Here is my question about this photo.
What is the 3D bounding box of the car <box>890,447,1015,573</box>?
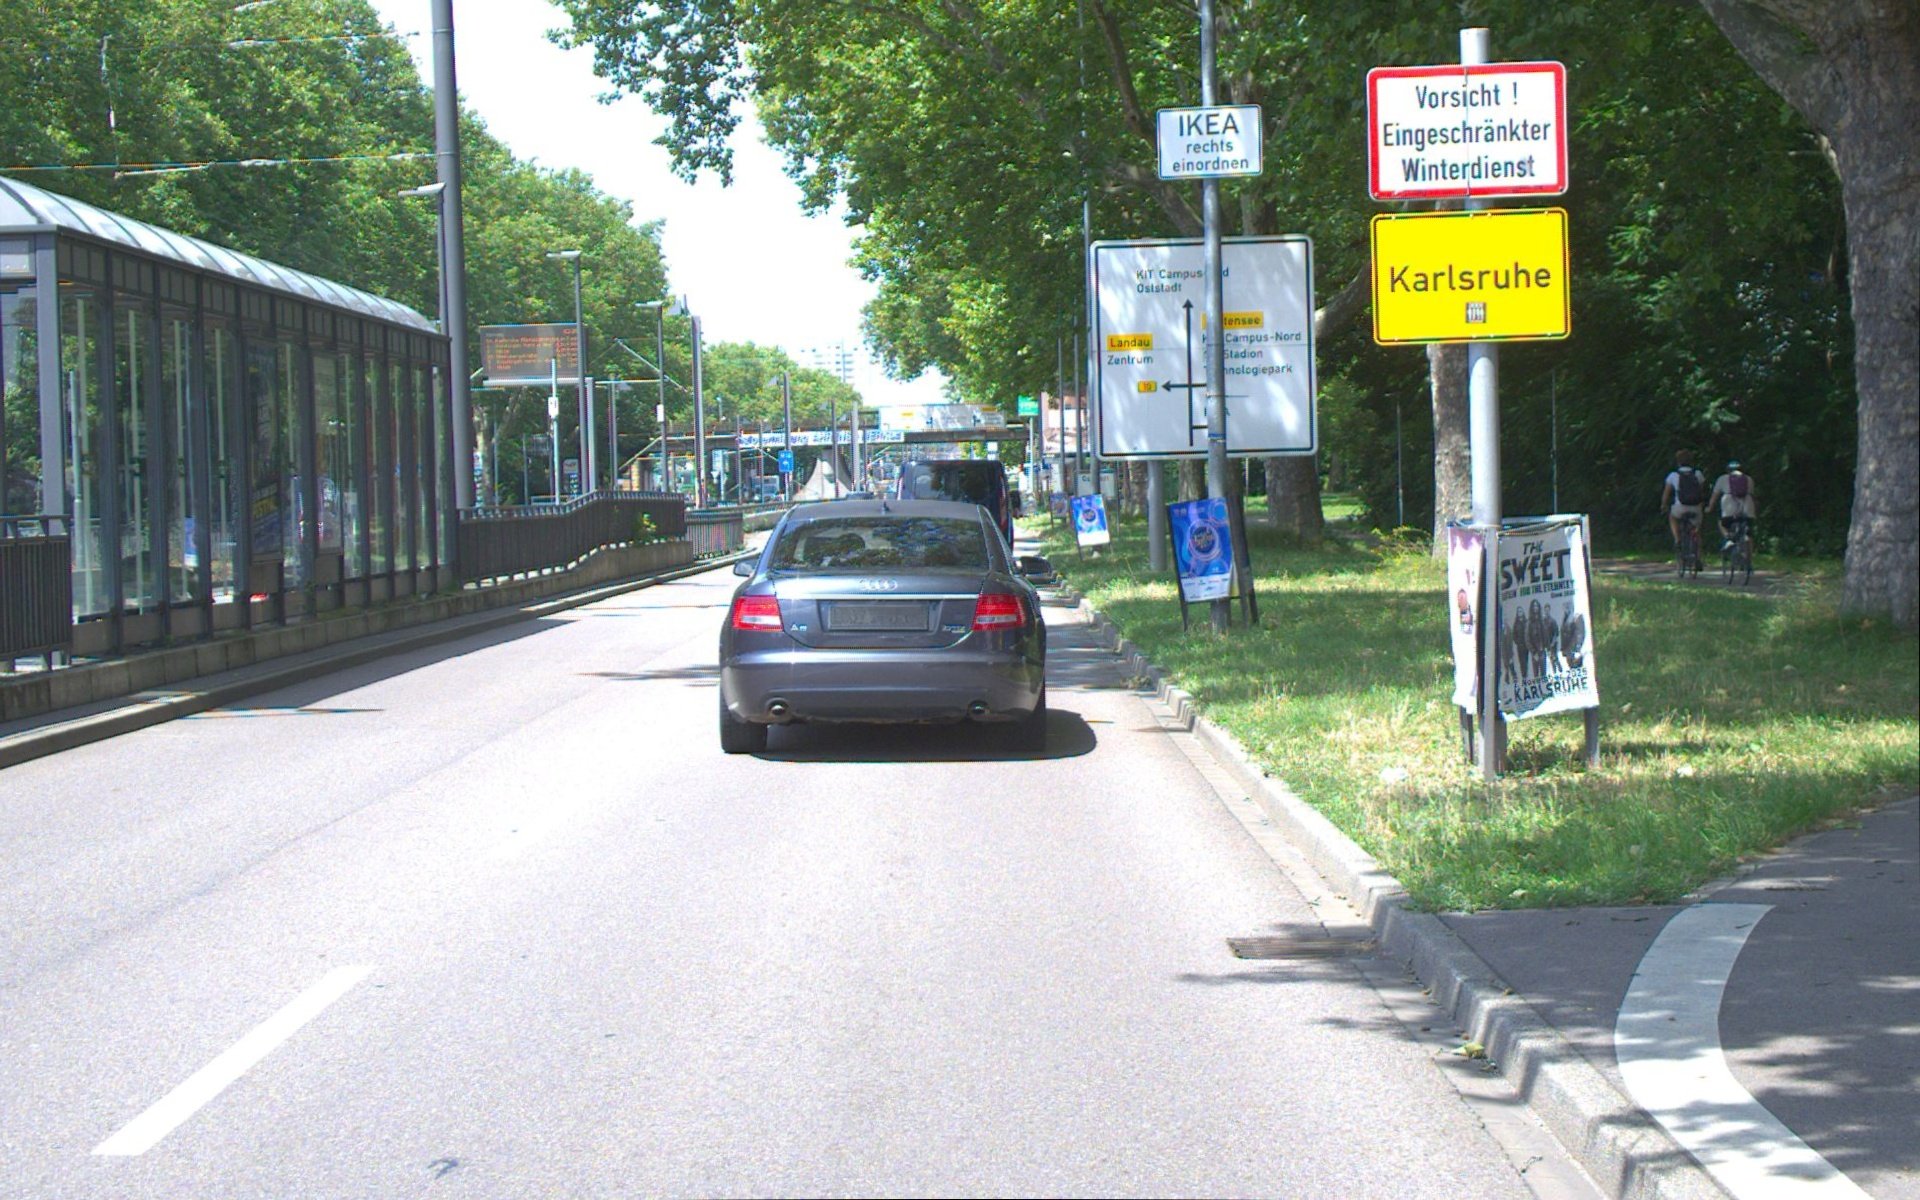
[{"bbox_3d":[-0.090,-1.475,55.777,1.848,1.952,4.144,0,2,2],"label":"car"}]

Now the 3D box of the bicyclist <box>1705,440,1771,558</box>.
[{"bbox_3d":[10.712,-1.393,47.341,0.658,1.593,1.053,-1,2,1],"label":"bicyclist"}]

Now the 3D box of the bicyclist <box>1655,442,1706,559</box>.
[{"bbox_3d":[10.858,-1.502,51.853,0.597,1.740,0.843,0,2,0],"label":"bicyclist"}]

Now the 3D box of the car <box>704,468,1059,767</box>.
[{"bbox_3d":[-0.492,0.016,20.178,1.842,1.479,4.001,-1,3,-2],"label":"car"}]

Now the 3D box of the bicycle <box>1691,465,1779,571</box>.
[{"bbox_3d":[10.714,-1.151,47.598,0.610,1.415,2.662,-1,2,0],"label":"bicycle"}]

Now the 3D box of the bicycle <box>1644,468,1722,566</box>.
[{"bbox_3d":[10.856,-1.266,51.707,0.610,1.415,2.662,-1,2,0],"label":"bicycle"}]
